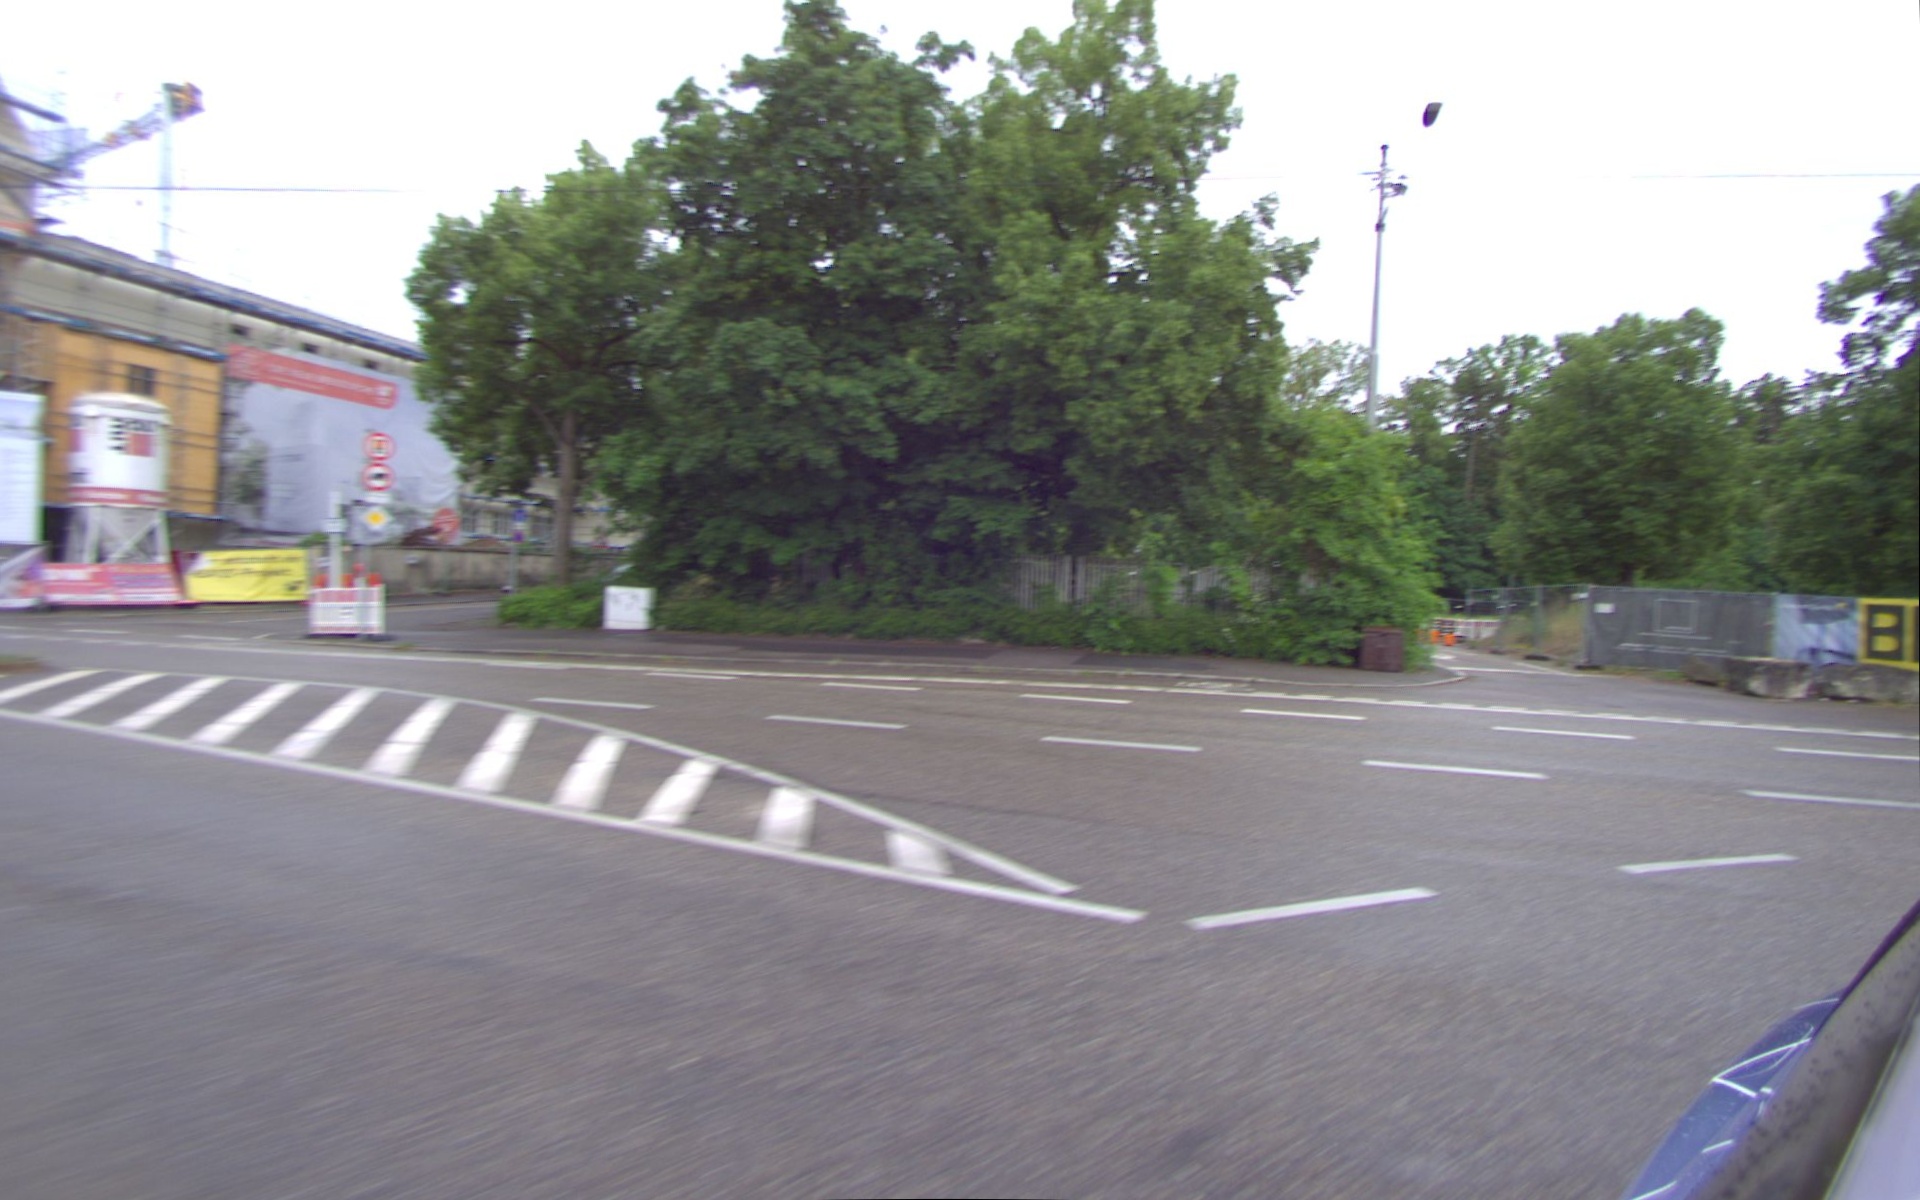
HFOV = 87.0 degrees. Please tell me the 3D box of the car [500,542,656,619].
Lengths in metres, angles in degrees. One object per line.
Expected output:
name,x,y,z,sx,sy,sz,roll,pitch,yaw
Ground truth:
car,-11.046,-0.539,29.274,3.919,2.039,2.003,2,1,-30
